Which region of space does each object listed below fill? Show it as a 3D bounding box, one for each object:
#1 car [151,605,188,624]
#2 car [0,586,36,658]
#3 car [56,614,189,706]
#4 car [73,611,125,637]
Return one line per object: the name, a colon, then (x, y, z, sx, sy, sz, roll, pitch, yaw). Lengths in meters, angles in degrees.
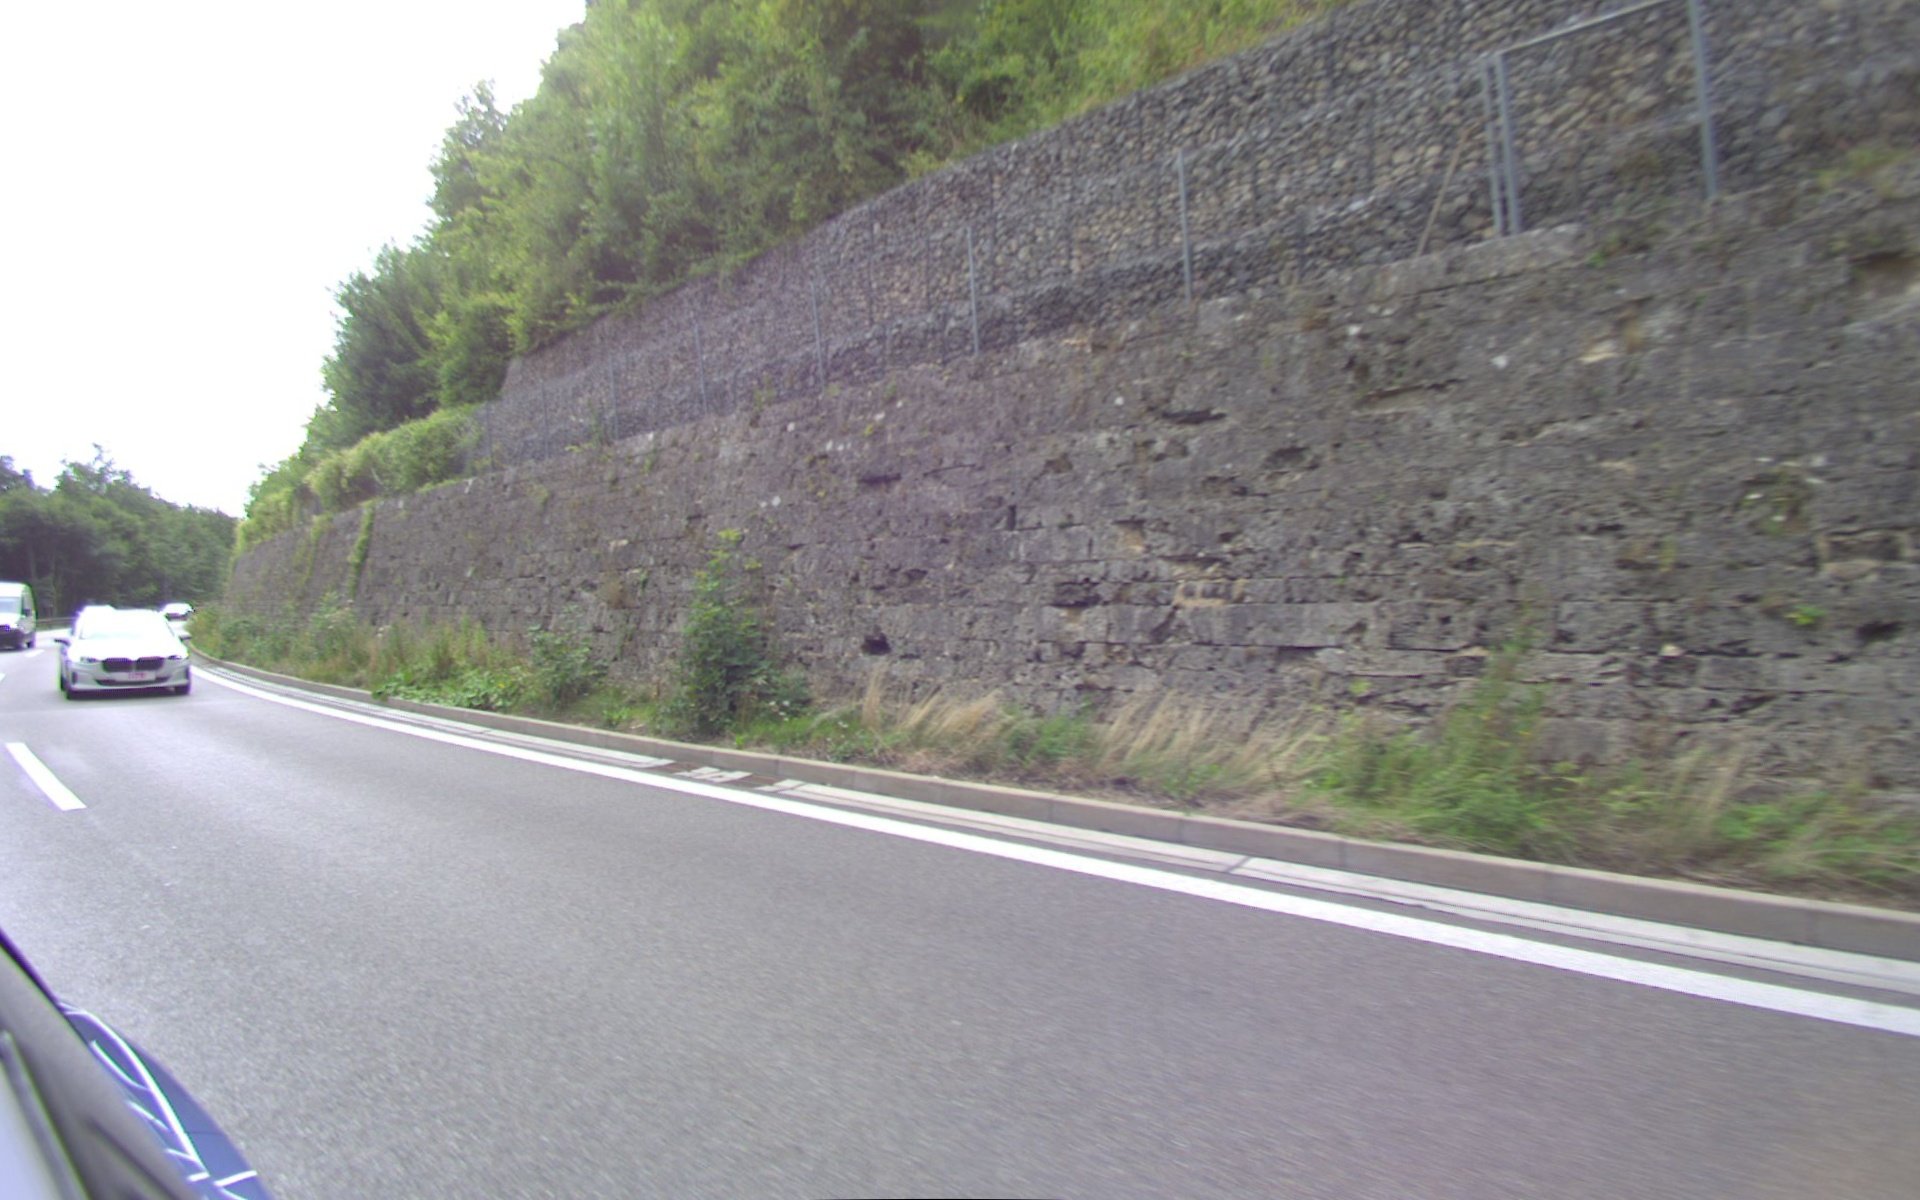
car: (-67.884, 1.278, 86.987, 1.793, 1.567, 4.013, 0, -1, -27)
car: (-36.930, 0.845, 38.648, 2.067, 2.582, 5.930, 0, -1, -39)
car: (-16.238, 1.077, 19.557, 1.797, 1.567, 4.004, 0, -1, -43)
car: (-54.847, 1.509, 64.507, 1.793, 1.567, 4.012, 0, -1, -30)
